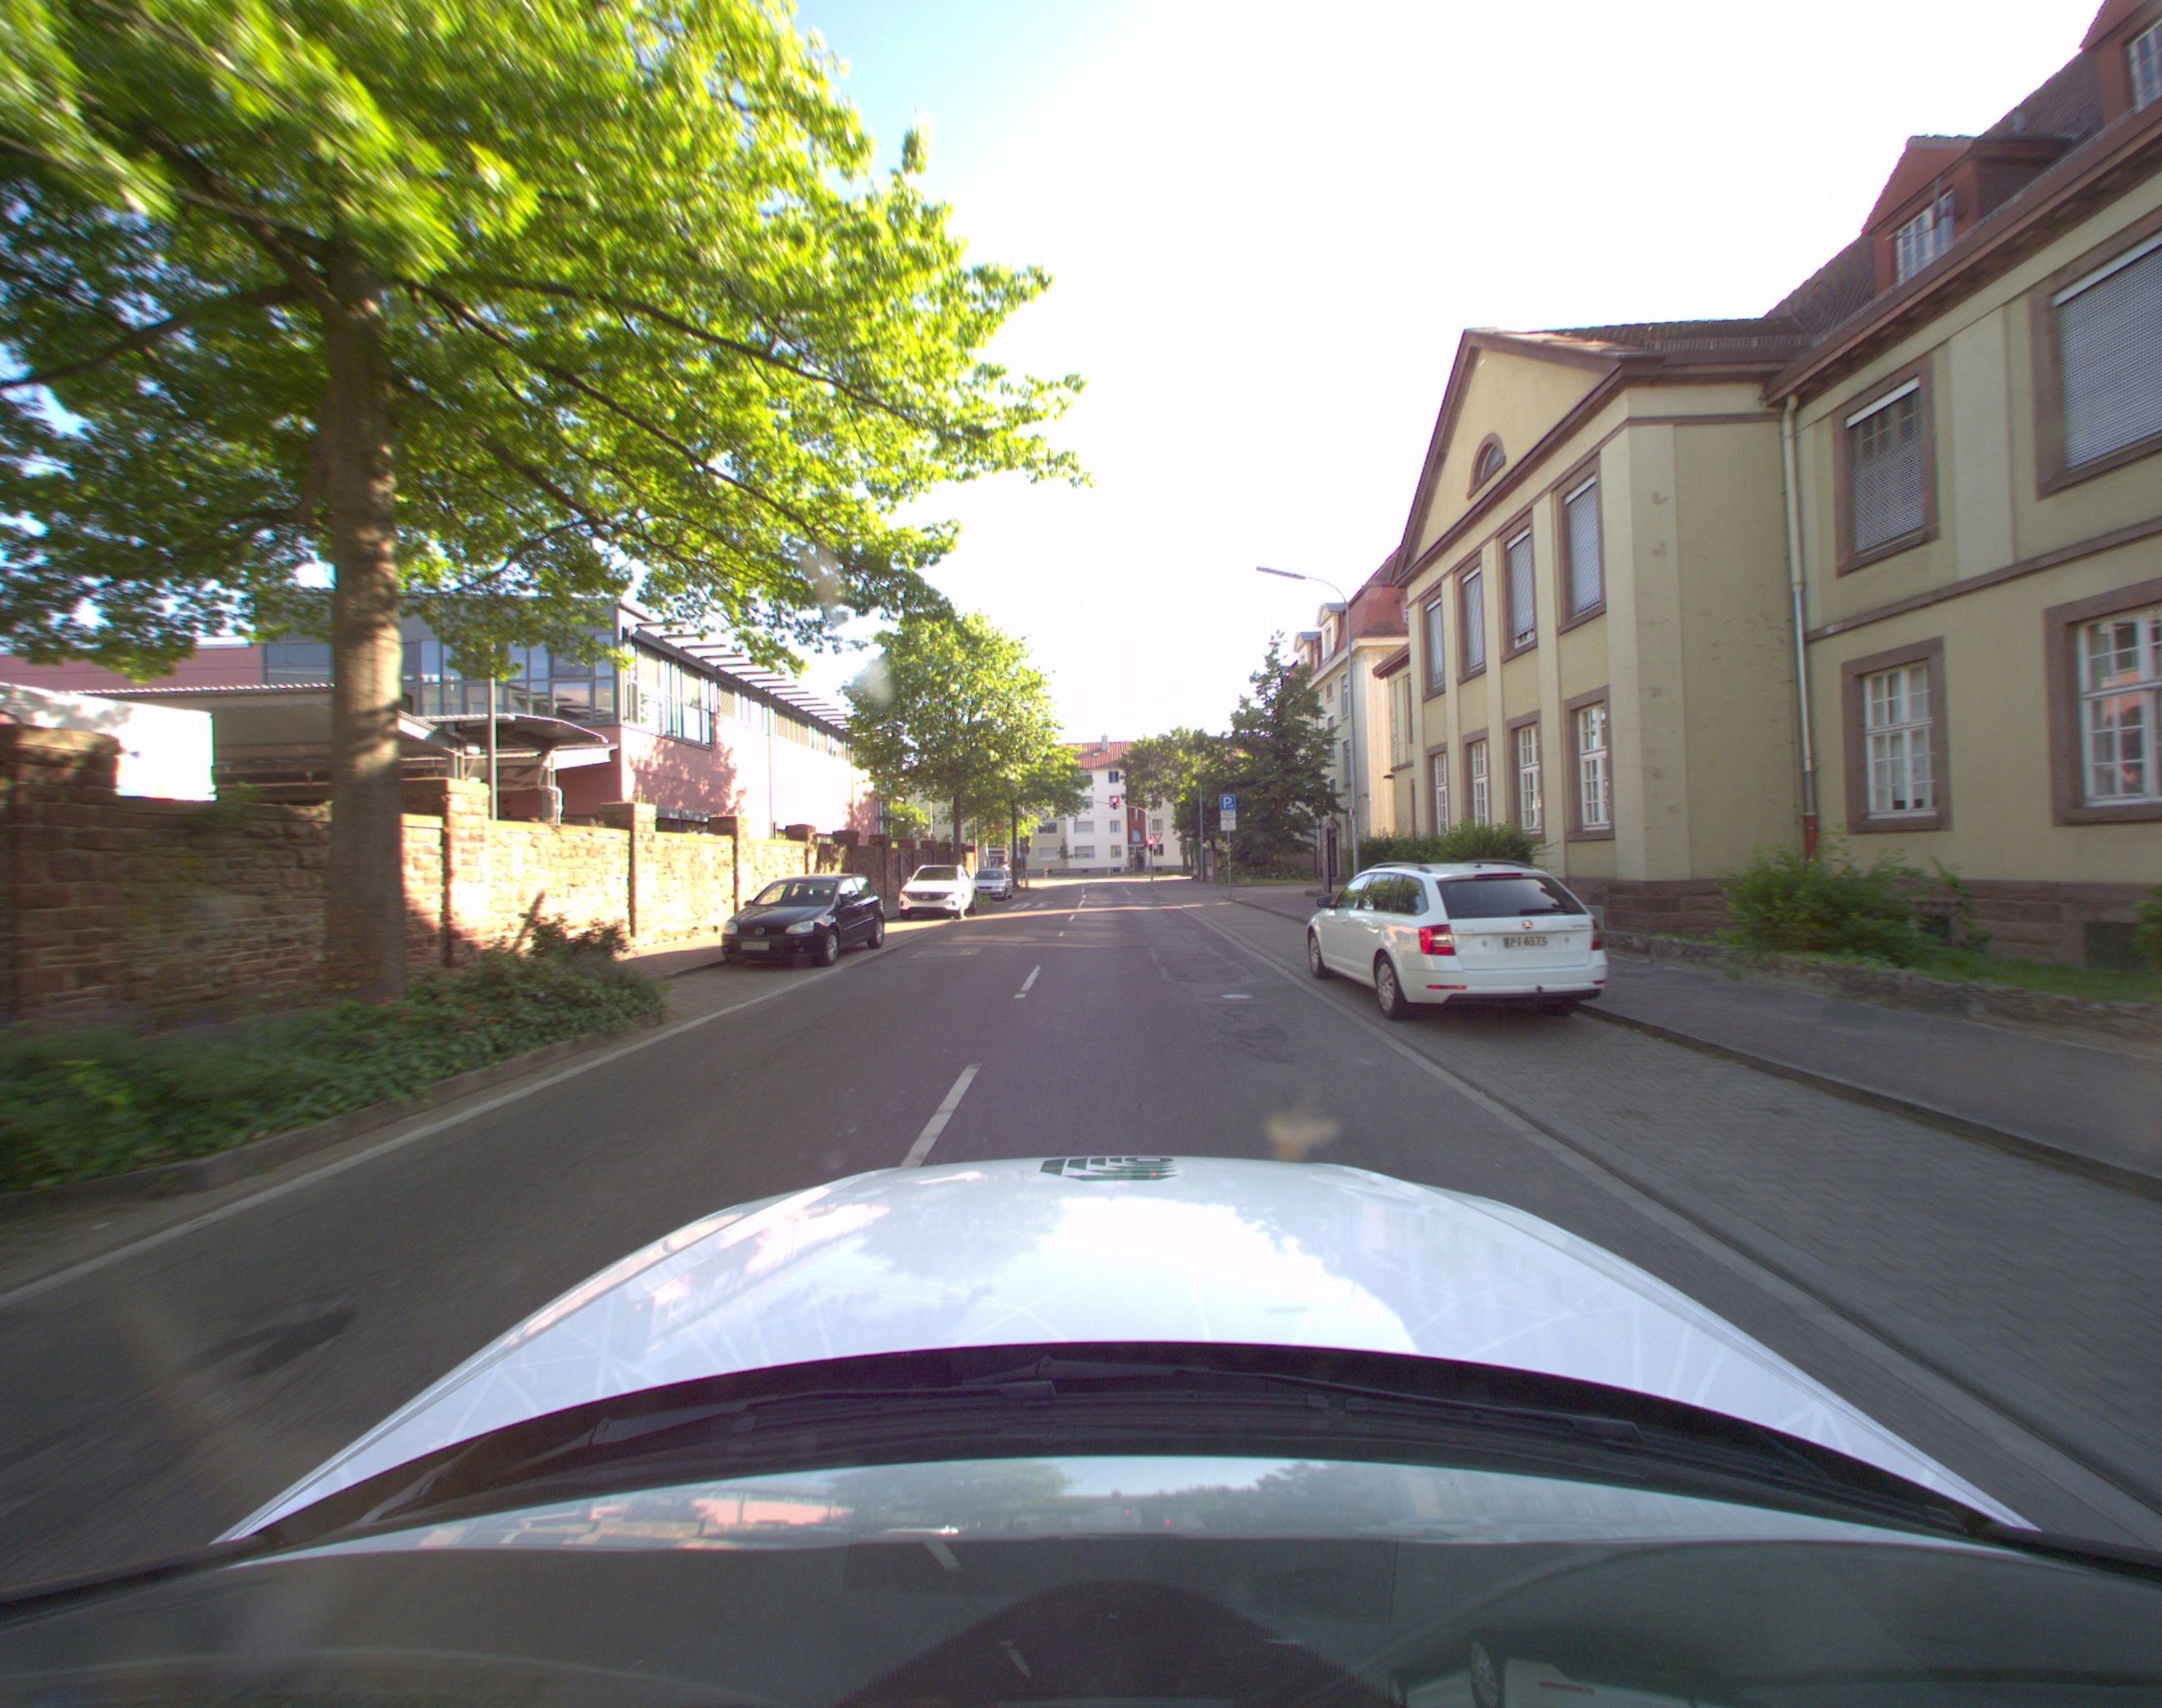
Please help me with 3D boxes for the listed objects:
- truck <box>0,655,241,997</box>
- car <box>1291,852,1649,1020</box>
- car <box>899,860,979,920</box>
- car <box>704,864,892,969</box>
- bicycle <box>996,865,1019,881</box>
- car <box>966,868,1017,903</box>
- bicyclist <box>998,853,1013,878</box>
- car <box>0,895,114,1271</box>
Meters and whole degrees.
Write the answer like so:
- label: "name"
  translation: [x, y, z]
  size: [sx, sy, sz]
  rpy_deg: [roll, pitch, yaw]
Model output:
- label: "truck"
  translation: [-13.145, -0.325, 7.586]
  size: [2.722, 3.711, 7.430]
  rpy_deg: [0, -1, 1]
- label: "car"
  translation: [3.787, 0.702, 8.967]
  size: [1.826, 1.323, 4.496]
  rpy_deg: [-2, -1, 1]
- label: "car"
  translation: [-4.365, 1.068, 25.645]
  size: [1.714, 1.684, 4.350]
  rpy_deg: [-1, -1, 0]
- label: "car"
  translation: [-4.850, 0.991, 14.621]
  size: [1.730, 1.592, 4.110]
  rpy_deg: [-1, -1, 3]
- label: "bicycle"
  translation: [-5.165, 1.345, 57.264]
  size: [1.696, 1.080, 0.348]
  rpy_deg: [0, -1, -36]
- label: "car"
  translation: [-4.020, 1.389, 37.222]
  size: [1.720, 1.476, 4.479]
  rpy_deg: [0, -1, 1]
- label: "bicyclist"
  translation: [-5.311, 0.824, 57.217]
  size: [0.793, 1.757, 0.605]
  rpy_deg: [0, -1, -40]
- label: "car"
  translation: [-5.105, 0.886, 1.711]
  size: [1.602, 1.459, 3.710]
  rpy_deg: [0, -1, 2]
